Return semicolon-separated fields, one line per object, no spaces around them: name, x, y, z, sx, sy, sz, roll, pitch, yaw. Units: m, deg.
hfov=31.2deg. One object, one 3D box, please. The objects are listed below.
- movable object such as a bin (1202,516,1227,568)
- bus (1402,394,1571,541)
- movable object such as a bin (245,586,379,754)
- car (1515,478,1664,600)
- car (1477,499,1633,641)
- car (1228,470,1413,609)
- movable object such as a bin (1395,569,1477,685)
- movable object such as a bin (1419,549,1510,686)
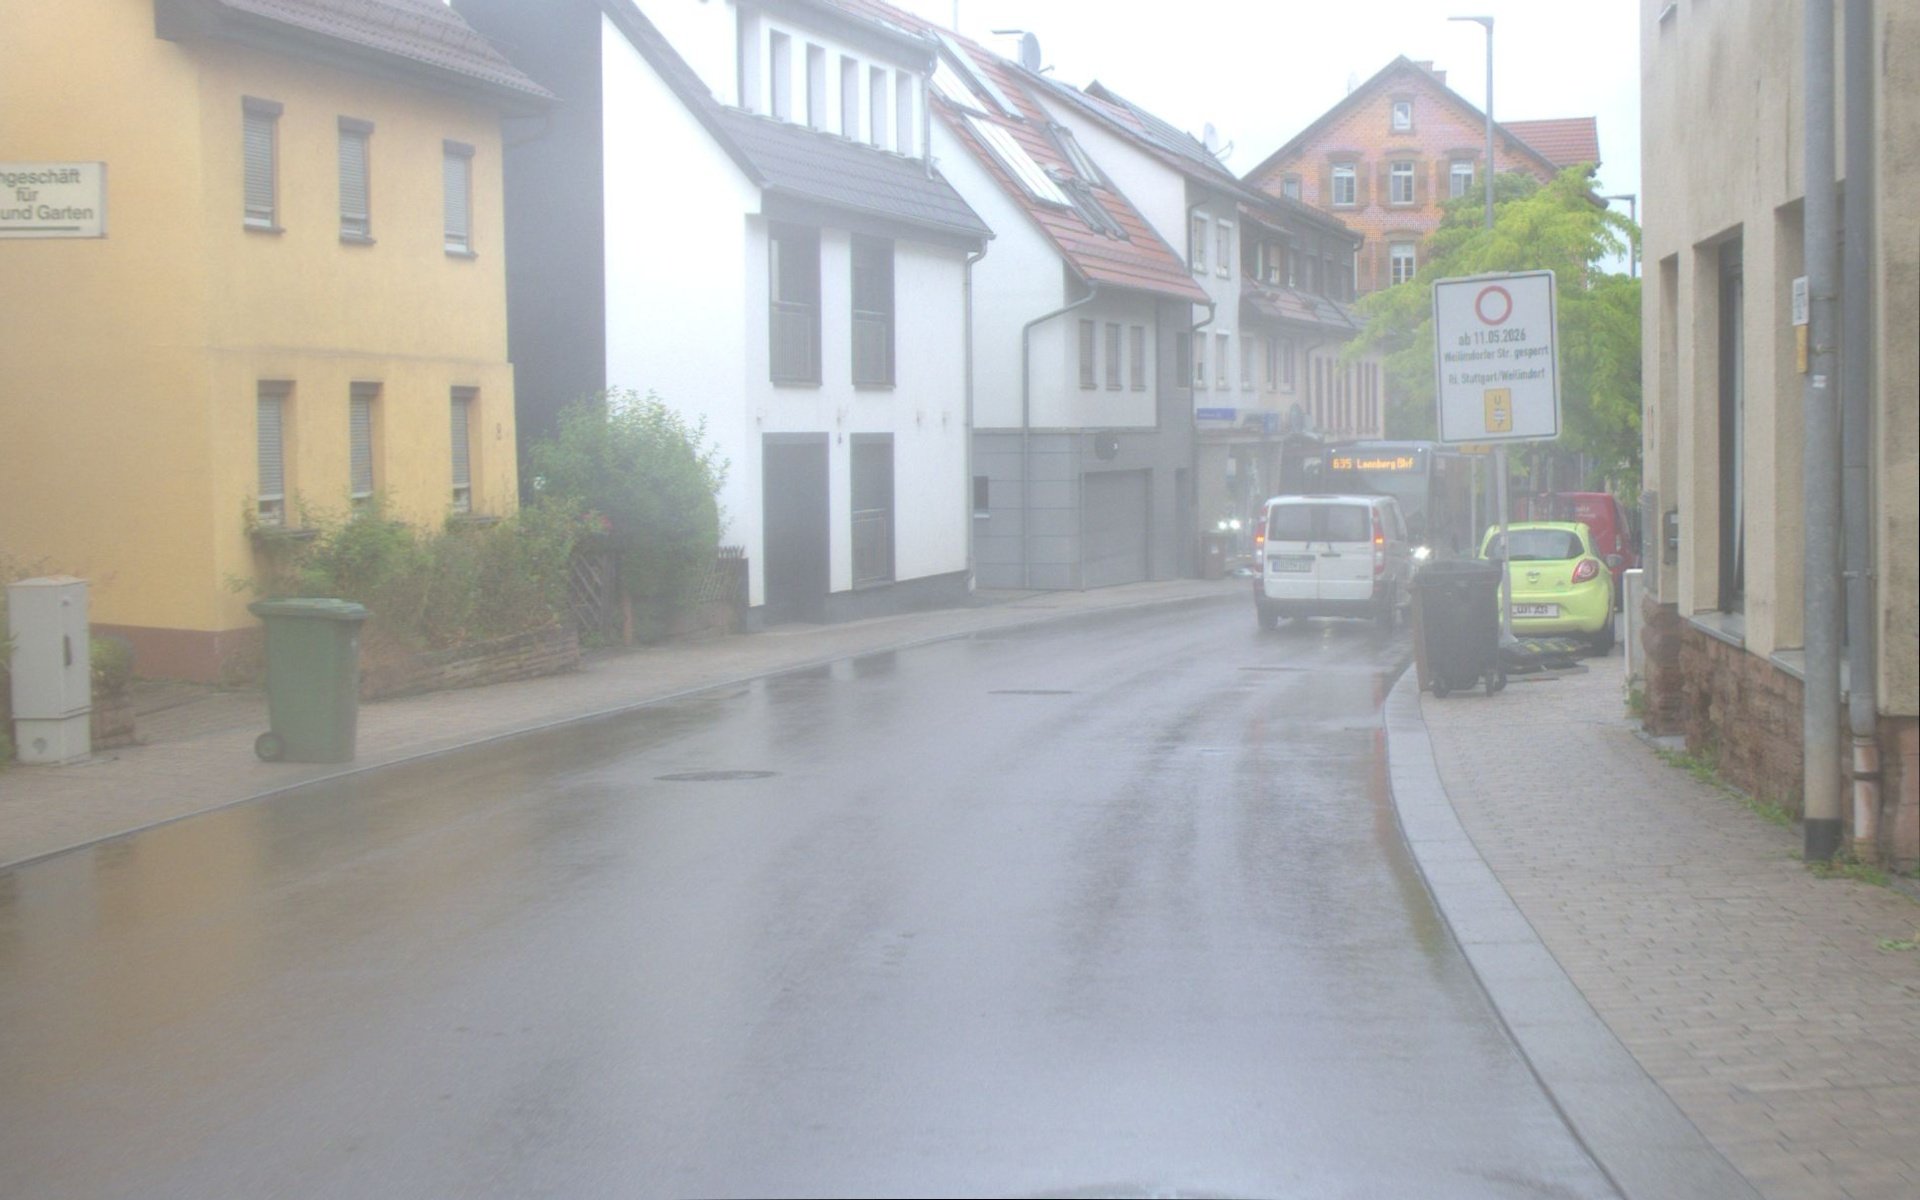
movable object such as a bin;5.530;-1.261;74.666;0.518;1.118;0.635;0;1;7
bus;12.051;-2.924;78.054;2.742;3.119;9.227;0;1;15
movable object such as a bin;-4.271;0.454;22.698;0.660;1.052;0.763;2;2;5
car;9.451;-0.910;51.411;1.713;1.756;3.997;0;1;18
car;6.820;-0.372;39.200;1.604;1.479;3.300;-2;1;11
car;5.125;-0.857;48.361;2.196;1.845;4.302;-1;1;11
movable object such as a bin;4.342;0.240;31.327;0.707;1.042;0.517;0;1;12
movable object such as a bin;4.443;0.142;30.199;0.767;1.169;1.540;0;1;9
